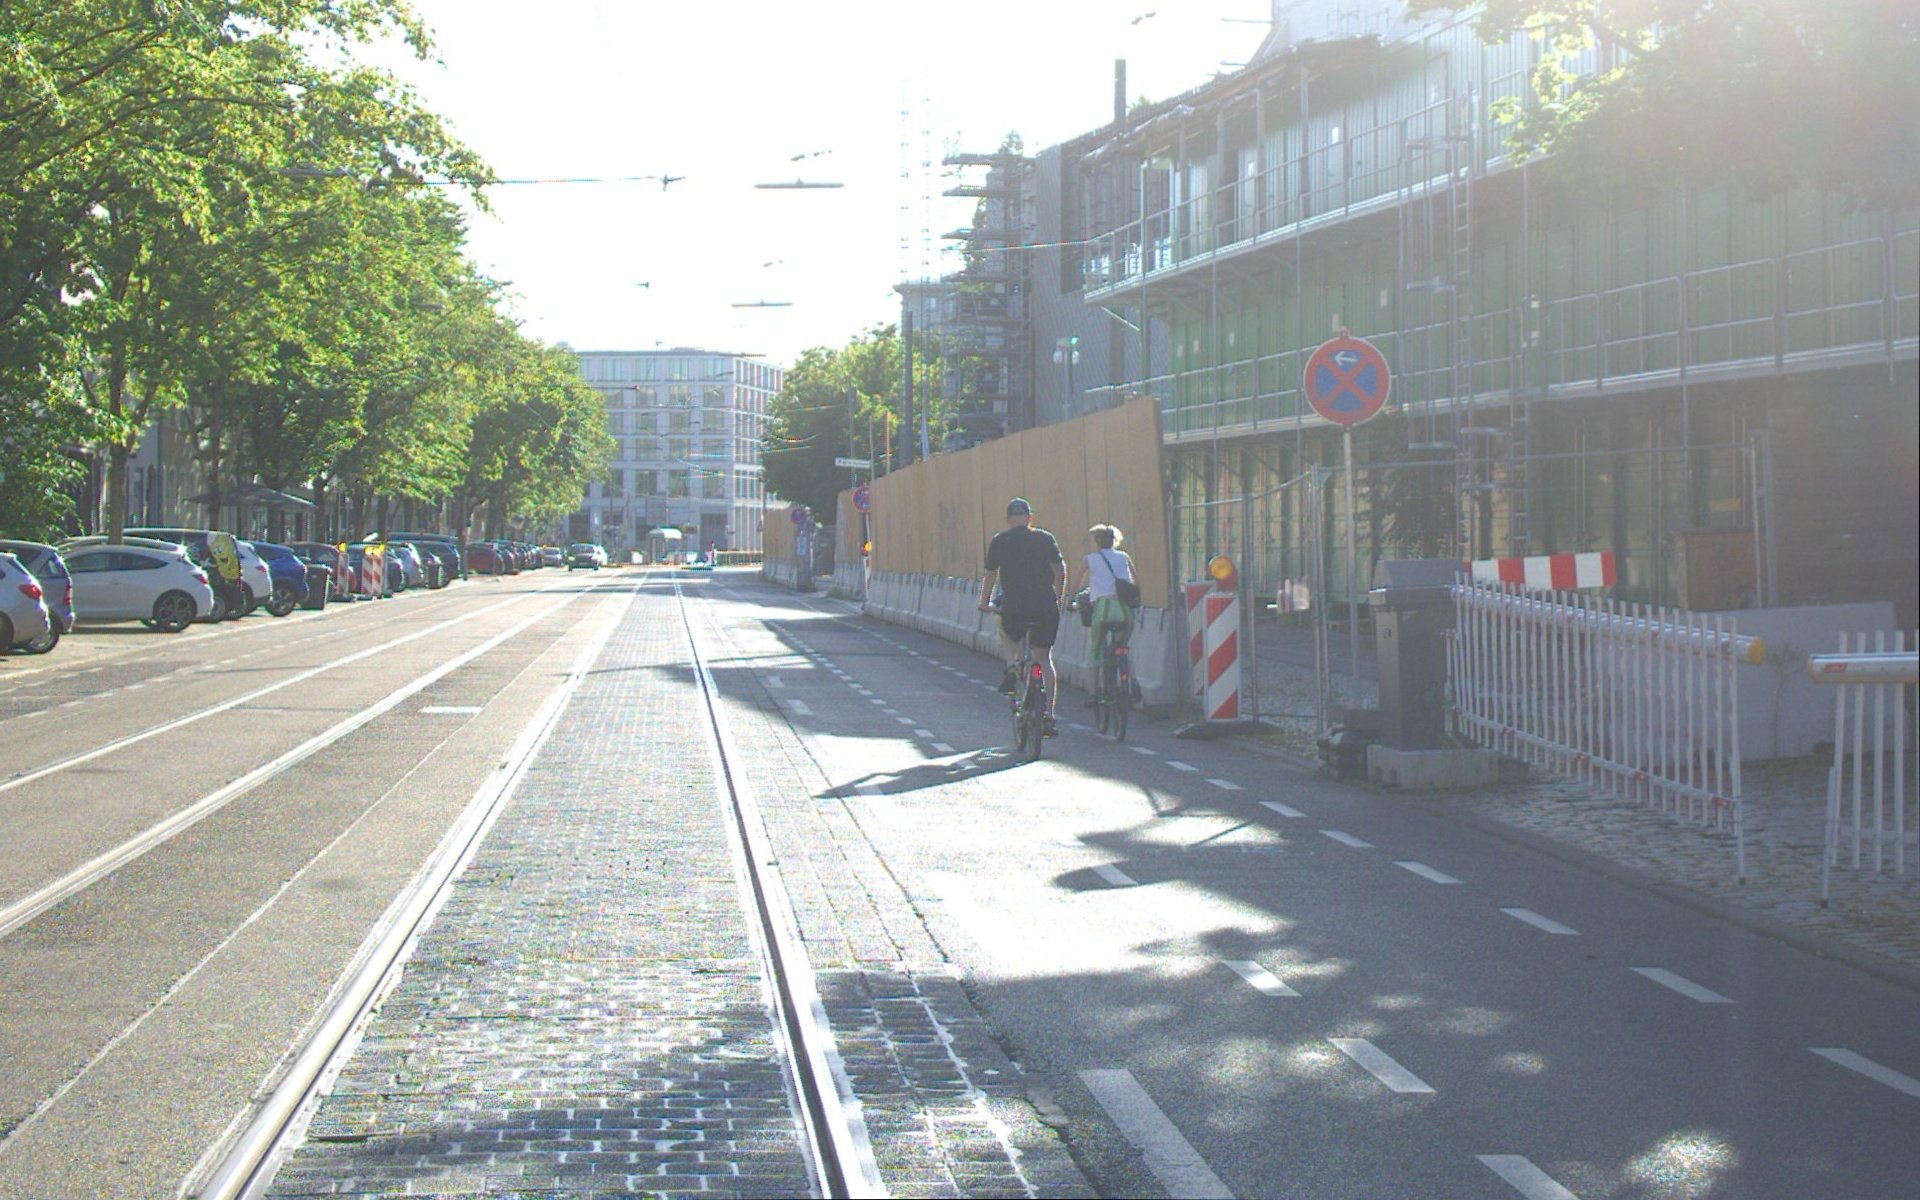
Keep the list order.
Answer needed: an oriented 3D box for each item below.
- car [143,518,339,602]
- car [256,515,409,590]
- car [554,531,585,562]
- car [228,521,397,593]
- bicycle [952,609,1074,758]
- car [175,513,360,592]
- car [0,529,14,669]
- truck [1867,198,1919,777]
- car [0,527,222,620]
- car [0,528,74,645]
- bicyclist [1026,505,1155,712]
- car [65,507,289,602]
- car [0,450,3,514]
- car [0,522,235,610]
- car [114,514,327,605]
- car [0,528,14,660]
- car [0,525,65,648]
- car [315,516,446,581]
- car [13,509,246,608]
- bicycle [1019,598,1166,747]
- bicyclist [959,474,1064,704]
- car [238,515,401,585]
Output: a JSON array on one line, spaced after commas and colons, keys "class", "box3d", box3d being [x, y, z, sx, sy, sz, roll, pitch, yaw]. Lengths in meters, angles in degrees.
[{"class": "car", "box3d": [-16.852, -0.940, 80.565, 4.086, 1.748, 1.829, 3, 0, -27]}, {"class": "car", "box3d": [-18.903, -1.432, 103.610, 4.086, 2.047, 1.829, 3, 0, -27]}, {"class": "car", "box3d": [-24.143, -3.316, 212.631, 1.680, 1.831, 3.873, 3, 0, -8]}, {"class": "car", "box3d": [-17.550, -1.163, 93.163, 4.086, 1.748, 1.829, 3, 0, -27]}, {"class": "bicycle", "box3d": [0.372, 0.590, 25.174, 0.680, 1.015, 1.922, 0, 1, -6]}, {"class": "car", "box3d": [-17.163, -1.185, 85.251, 4.086, 1.748, 1.829, 3, 0, -27]}, {"class": "car", "box3d": [-13.138, -0.053, 39.812, 4.085, 1.602, 1.829, 1, 1, -12]}, {"class": "truck", "box3d": [9.104, -0.741, 19.670, 7.096, 3.336, 2.391, -2, 1, -4]}, {"class": "car", "box3d": [-15.249, -0.479, 60.419, 4.085, 1.448, 1.829, 3, 0, -25]}, {"class": "car", "box3d": [-14.831, -0.278, 49.069, 4.085, 1.602, 1.829, 3, 0, -12]}, {"class": "bicyclist", "box3d": [1.047, 0.057, 27.890, 0.893, 1.634, 1.100, 1, 1, -4]}, {"class": "car", "box3d": [-16.037, -0.932, 70.429, 4.086, 1.748, 1.829, 3, 0, -27]}, {"class": "car", "box3d": [-13.201, -0.501, 37.093, 5.179, 2.569, 2.246, 3, 0, -8]}, {"class": "car", "box3d": [-15.990, -0.647, 65.047, 4.085, 1.448, 1.829, 3, 0, -25]}, {"class": "car", "box3d": [-15.938, -0.863, 74.103, 4.086, 1.748, 1.829, 3, 0, -27]}, {"class": "car", "box3d": [-13.792, -0.175, 42.095, 4.085, 1.602, 1.829, 3, 0, -12]}, {"class": "car", "box3d": [-14.313, -0.269, 46.564, 4.085, 1.602, 1.829, 3, 0, -12]}, {"class": "car", "box3d": [-20.361, -1.811, 120.777, 4.086, 2.047, 1.829, 3, 0, -27]}, {"class": "car", "box3d": [-16.324, -0.815, 67.595, 4.086, 1.748, 1.829, 3, 0, -27]}, {"class": "bicycle", "box3d": [1.044, 0.561, 27.762, 0.893, 1.089, 2.431, 1, 1, -4]}, {"class": "bicyclist", "box3d": [0.372, -0.085, 25.159, 0.680, 1.652, 0.812, 0, 1, -6]}, {"class": "car", "box3d": [-17.970, -1.405, 96.484, 4.086, 1.748, 1.829, 3, 0, -27]}]
